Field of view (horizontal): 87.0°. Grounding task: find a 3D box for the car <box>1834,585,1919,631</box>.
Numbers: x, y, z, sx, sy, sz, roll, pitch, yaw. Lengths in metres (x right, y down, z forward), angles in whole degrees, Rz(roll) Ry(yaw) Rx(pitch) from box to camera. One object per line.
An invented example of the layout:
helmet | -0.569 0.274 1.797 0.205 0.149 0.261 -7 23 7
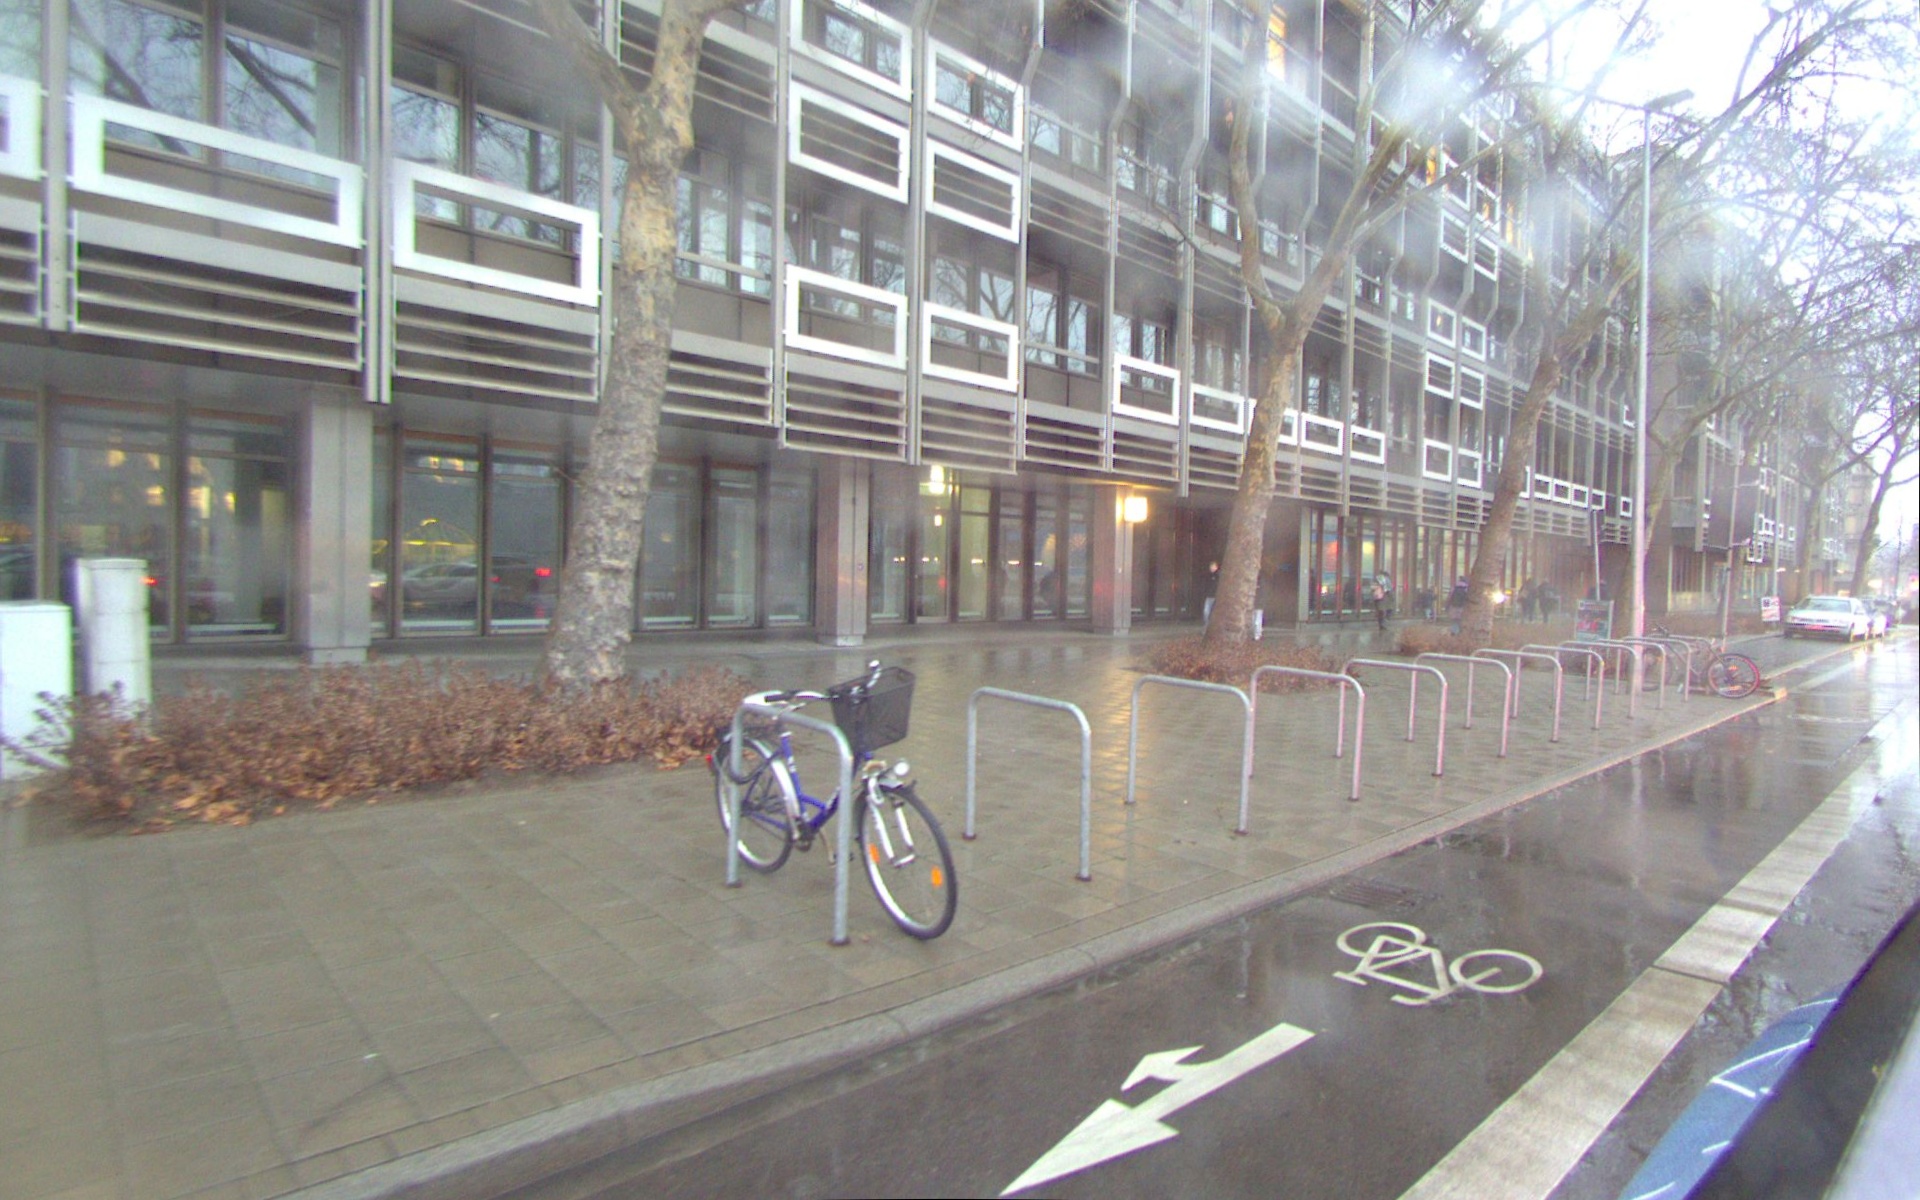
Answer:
car | 33.985 0.261 37.367 3.930 1.504 1.998 0 3 -41

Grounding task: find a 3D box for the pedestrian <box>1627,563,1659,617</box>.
pedestrian | 26.083 -0.376 38.635 0.723 2.038 0.821 0 1 -43

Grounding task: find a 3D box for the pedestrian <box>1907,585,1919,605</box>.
pedestrian | 95.497 -0.527 101.385 0.758 2.039 0.837 -1 0 -42

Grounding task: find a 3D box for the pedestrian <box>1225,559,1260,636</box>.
pedestrian | 6.294 -0.068 22.551 0.701 1.688 0.379 0 2 -41

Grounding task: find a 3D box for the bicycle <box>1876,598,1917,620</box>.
bicycle | 46.598 0.442 50.370 1.518 1.049 0.462 0 1 42

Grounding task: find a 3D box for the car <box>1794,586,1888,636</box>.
car | 28.993 0.326 33.279 3.859 1.449 1.609 0 5 -39

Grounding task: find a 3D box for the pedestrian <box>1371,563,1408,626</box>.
pedestrian | 11.733 -0.165 27.661 0.767 1.677 0.617 0 1 -41

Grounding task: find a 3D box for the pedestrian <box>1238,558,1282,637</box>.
pedestrian | 6.591 -0.065 22.221 0.858 1.688 0.501 0 2 -41

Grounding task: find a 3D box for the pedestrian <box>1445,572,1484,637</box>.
pedestrian | 12.322 0.098 24.722 0.604 1.563 0.649 0 1 -40

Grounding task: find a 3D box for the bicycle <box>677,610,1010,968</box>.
bicycle | -0.591 0.689 4.413 0.428 1.162 1.752 0 4 -44

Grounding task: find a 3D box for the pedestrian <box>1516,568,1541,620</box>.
pedestrian | 18.502 -0.208 32.945 0.636 1.675 0.834 2 1 30

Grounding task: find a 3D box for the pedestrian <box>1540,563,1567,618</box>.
pedestrian | 19.110 -0.301 32.584 0.654 1.739 0.835 2 1 27

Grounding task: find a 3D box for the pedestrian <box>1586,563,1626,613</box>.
pedestrian | 20.429 -0.397 32.012 0.824 1.543 0.865 0 2 -43

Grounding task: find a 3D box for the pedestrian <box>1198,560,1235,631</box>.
pedestrian | 5.867 -0.116 23.137 0.733 1.583 0.484 0 1 -42

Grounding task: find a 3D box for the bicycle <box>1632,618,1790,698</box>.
bicycle | 11.191 0.836 15.122 0.607 0.986 1.789 0 3 -44

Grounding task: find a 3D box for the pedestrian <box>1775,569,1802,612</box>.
pedestrian | 39.990 -0.470 48.841 1.006 2.038 0.790 0 1 -41
